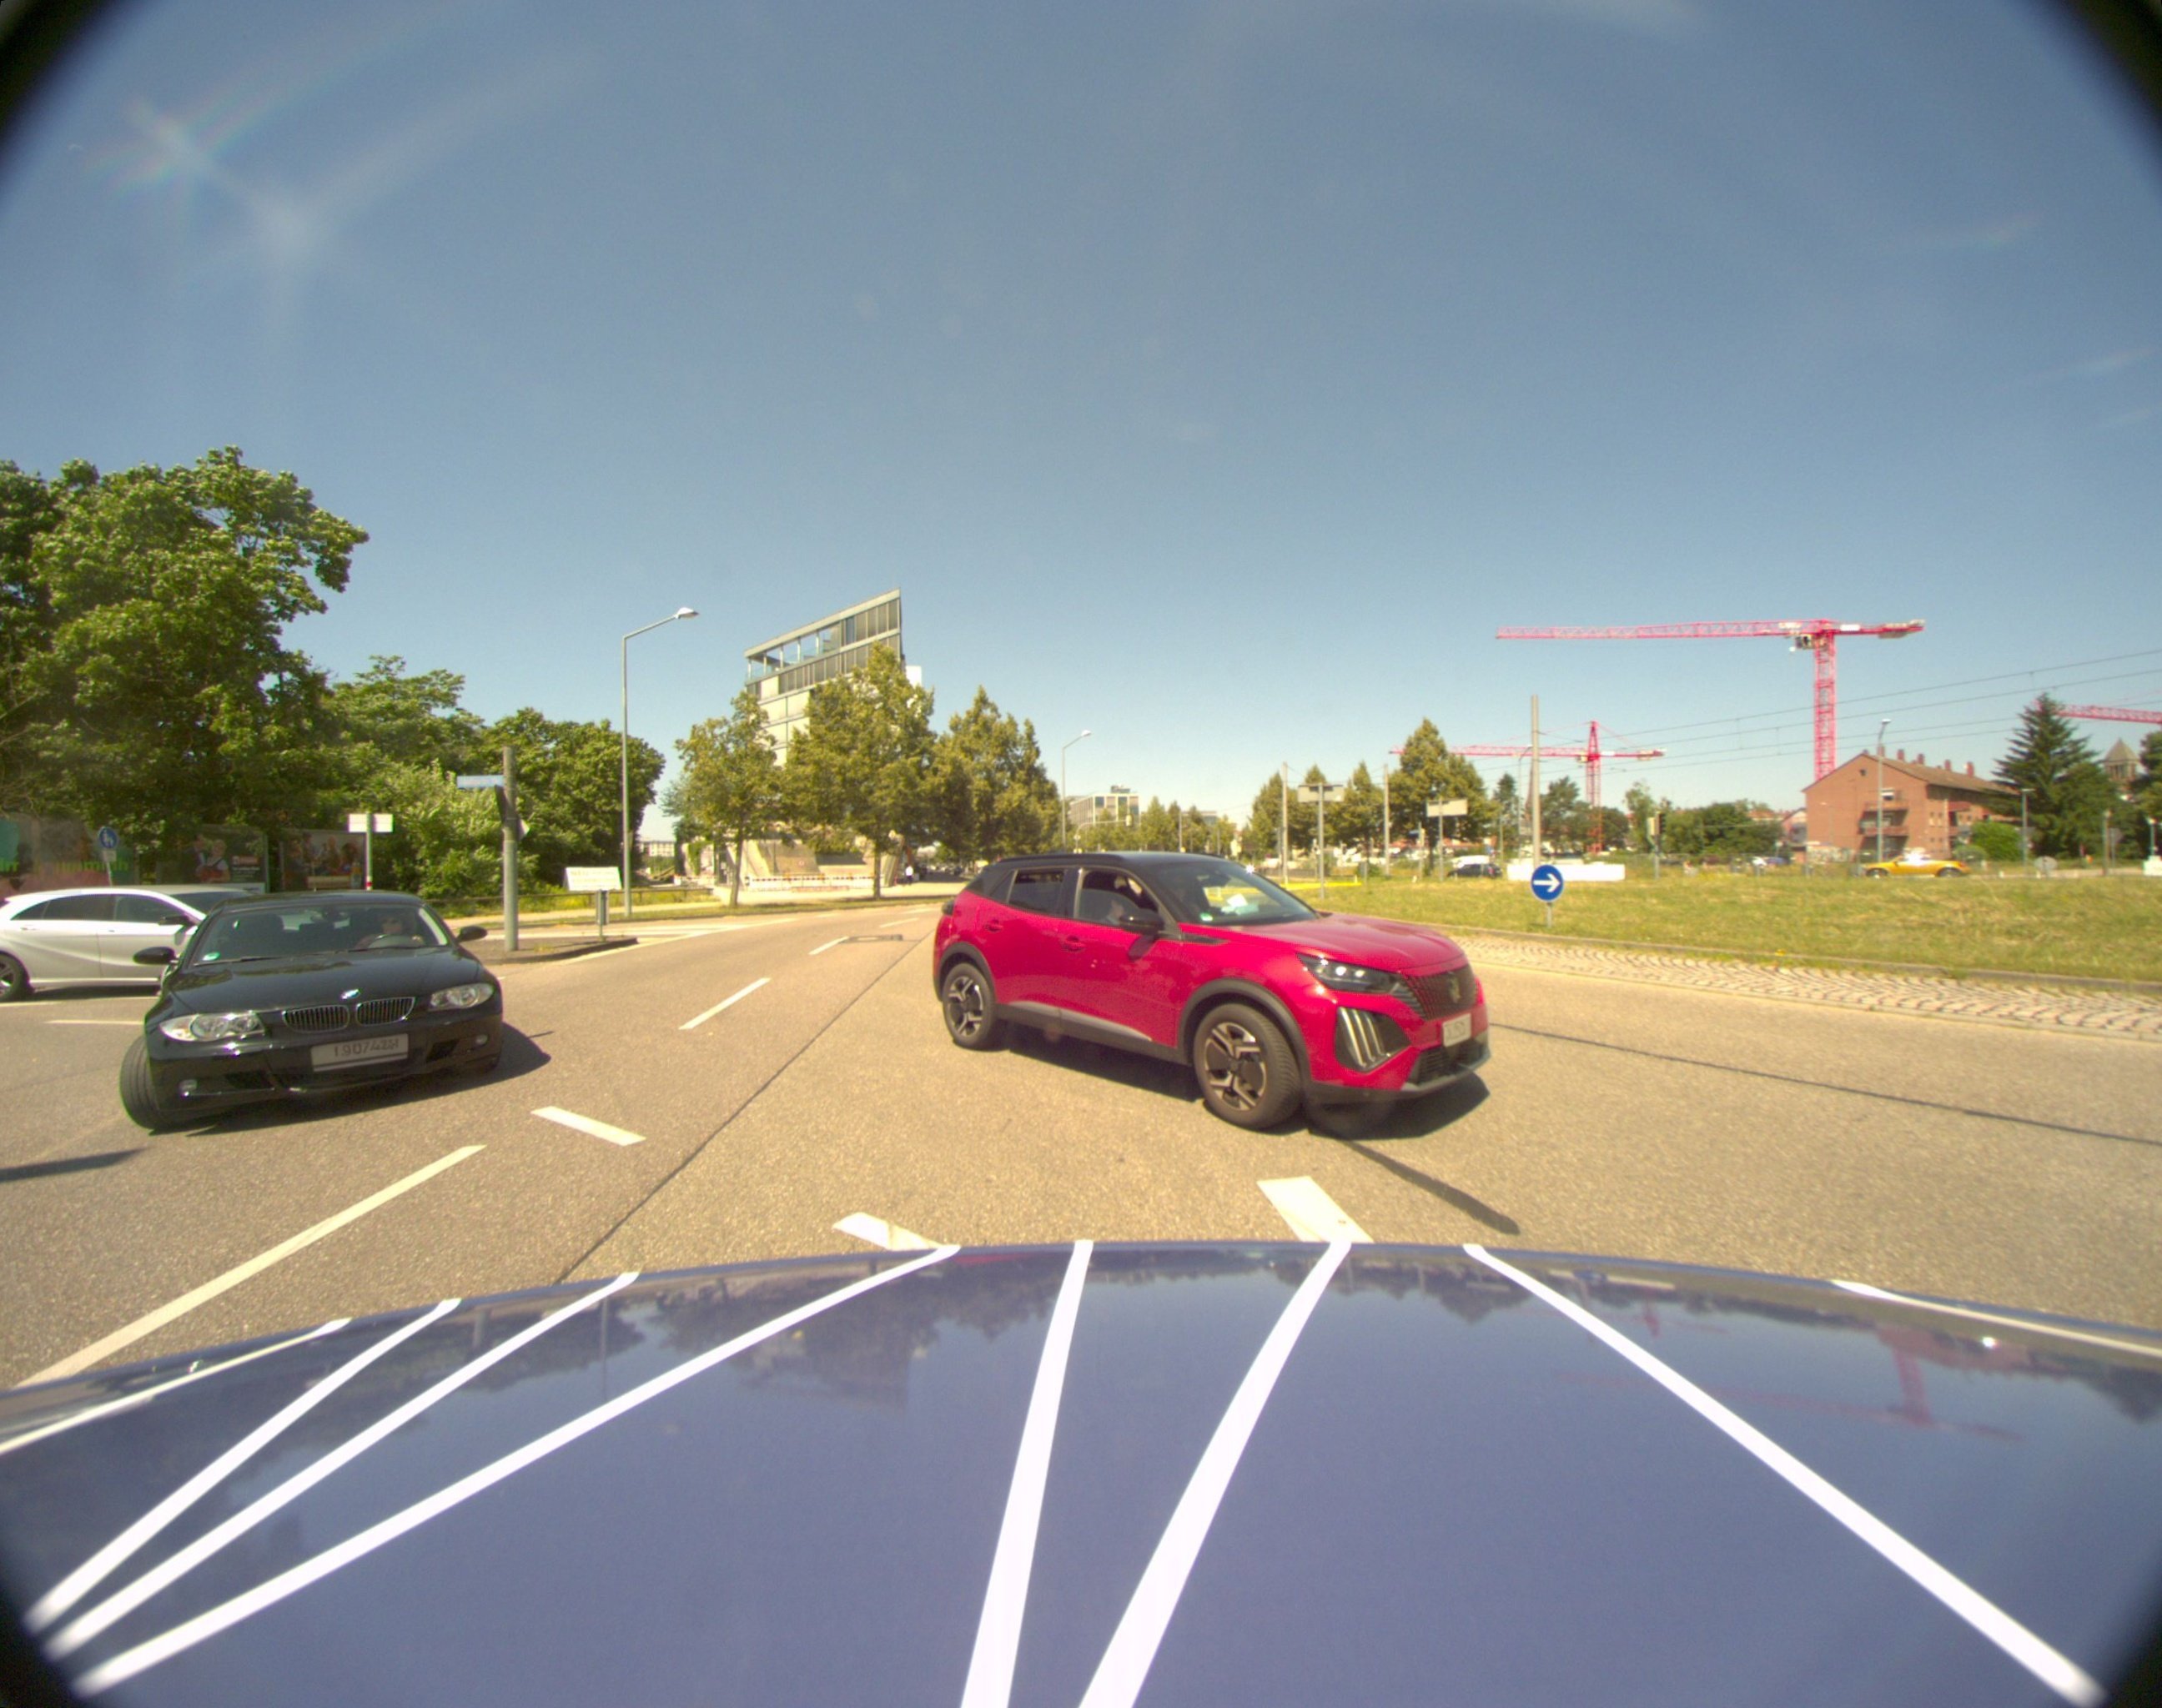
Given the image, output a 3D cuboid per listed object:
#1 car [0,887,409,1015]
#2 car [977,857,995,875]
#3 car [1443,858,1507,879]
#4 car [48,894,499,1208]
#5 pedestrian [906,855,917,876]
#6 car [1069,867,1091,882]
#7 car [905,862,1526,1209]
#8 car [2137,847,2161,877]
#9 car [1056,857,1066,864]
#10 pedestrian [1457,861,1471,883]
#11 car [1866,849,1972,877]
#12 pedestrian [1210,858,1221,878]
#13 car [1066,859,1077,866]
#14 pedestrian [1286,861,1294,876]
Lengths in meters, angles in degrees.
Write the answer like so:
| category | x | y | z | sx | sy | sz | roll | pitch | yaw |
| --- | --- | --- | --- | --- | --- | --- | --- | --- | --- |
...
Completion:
| category | x | y | z | sx | sy | sz | roll | pitch | yaw |
| --- | --- | --- | --- | --- | --- | --- | --- | --- | --- |
| car | -12.224 | 1.254 | 10.495 | 4.000 | 1.420 | 1.862 | -1 | 1 | -8 |
| car | -13.412 | 1.689 | 107.394 | 2.001 | 2.493 | 3.995 | -1 | 0 | -15 |
| car | 30.843 | 1.113 | 59.548 | 2.004 | 1.456 | 3.988 | -1 | 2 | -43 |
| car | -6.049 | 1.121 | 5.949 | 3.989 | 1.432 | 1.806 | -1 | 1 | 45 |
| pedestrian | -15.355 | 1.009 | 68.686 | 0.834 | 1.858 | 0.611 | 0 | 2 | 1 |
| car | -0.122 | 1.909 | 71.540 | 1.577 | 1.218 | 3.319 | 0 | 1 | -10 |
| car | 0.581 | 0.865 | 5.492 | 1.725 | 1.518 | 4.200 | 0 | -1 | -43 |
| car | 73.906 | 0.531 | 51.513 | 4.005 | 2.002 | 1.995 | 0 | 1 | -25 |
| car | -5.841 | 1.830 | 222.214 | 2.001 | 2.002 | 3.896 | 0 | 1 | -14 |
| pedestrian | 32.758 | 1.522 | 64.988 | 0.814 | 1.888 | 0.732 | 0 | 2 | -1 |
| car | 44.792 | 0.458 | 40.734 | 3.651 | 1.395 | 1.835 | 0 | 1 | 42 |
| pedestrian | 11.343 | 1.195 | 64.085 | 0.760 | 1.630 | 0.781 | 0 | 1 | 0 |
| car | -2.625 | 2.288 | 209.166 | 2.001 | 2.002 | 3.896 | 0 | 1 | -14 |
| pedestrian | 19.617 | 1.371 | 71.280 | 0.597 | 1.398 | 0.544 | -1 | 0 | 3 |
